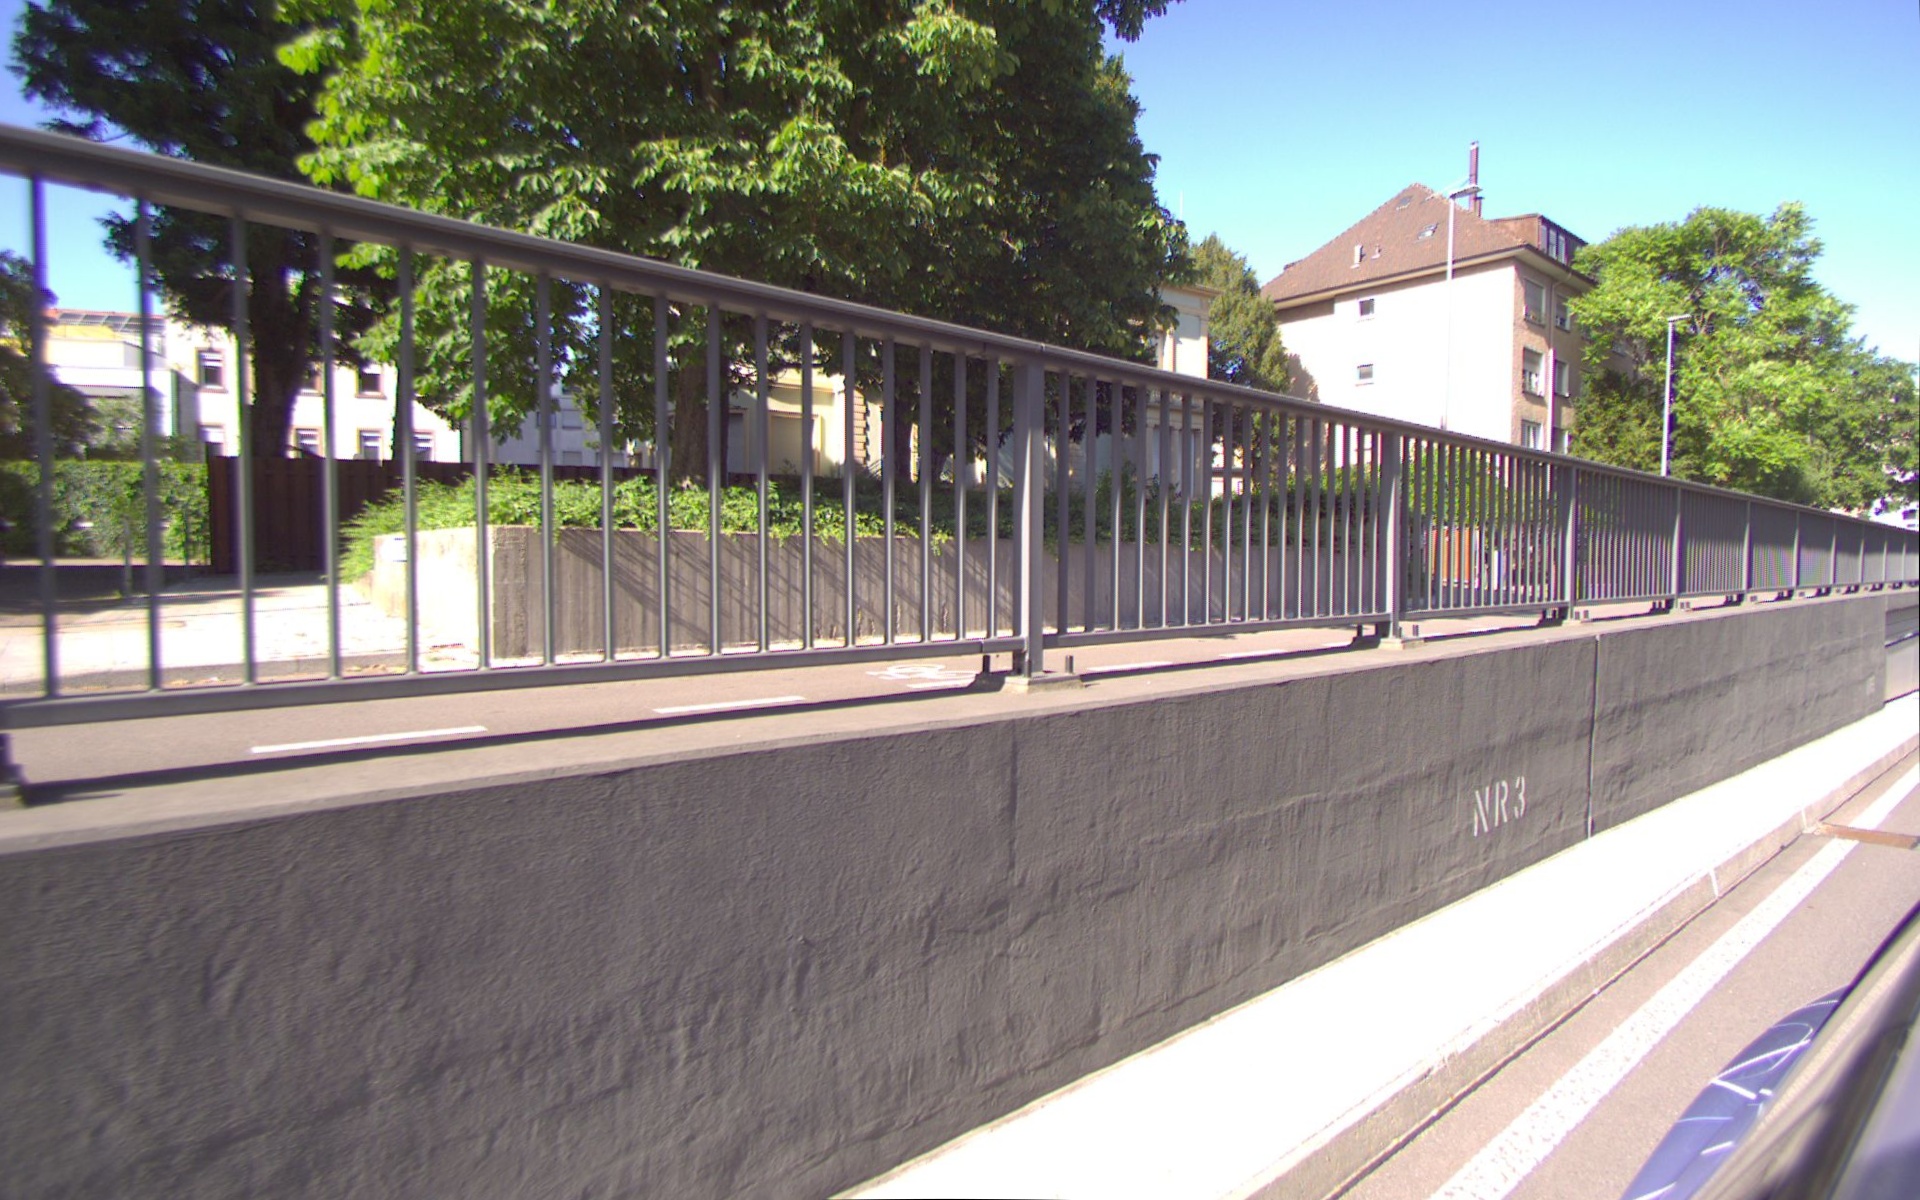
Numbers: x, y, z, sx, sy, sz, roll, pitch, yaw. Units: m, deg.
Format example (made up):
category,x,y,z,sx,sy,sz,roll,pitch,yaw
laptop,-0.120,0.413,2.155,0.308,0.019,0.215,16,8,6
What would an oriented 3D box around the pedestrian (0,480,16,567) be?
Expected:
category,x,y,z,sx,sy,sz,roll,pitch,yaw
pedestrian,-17.120,-1.327,17.707,0.797,1.499,0.854,-1,1,-38
